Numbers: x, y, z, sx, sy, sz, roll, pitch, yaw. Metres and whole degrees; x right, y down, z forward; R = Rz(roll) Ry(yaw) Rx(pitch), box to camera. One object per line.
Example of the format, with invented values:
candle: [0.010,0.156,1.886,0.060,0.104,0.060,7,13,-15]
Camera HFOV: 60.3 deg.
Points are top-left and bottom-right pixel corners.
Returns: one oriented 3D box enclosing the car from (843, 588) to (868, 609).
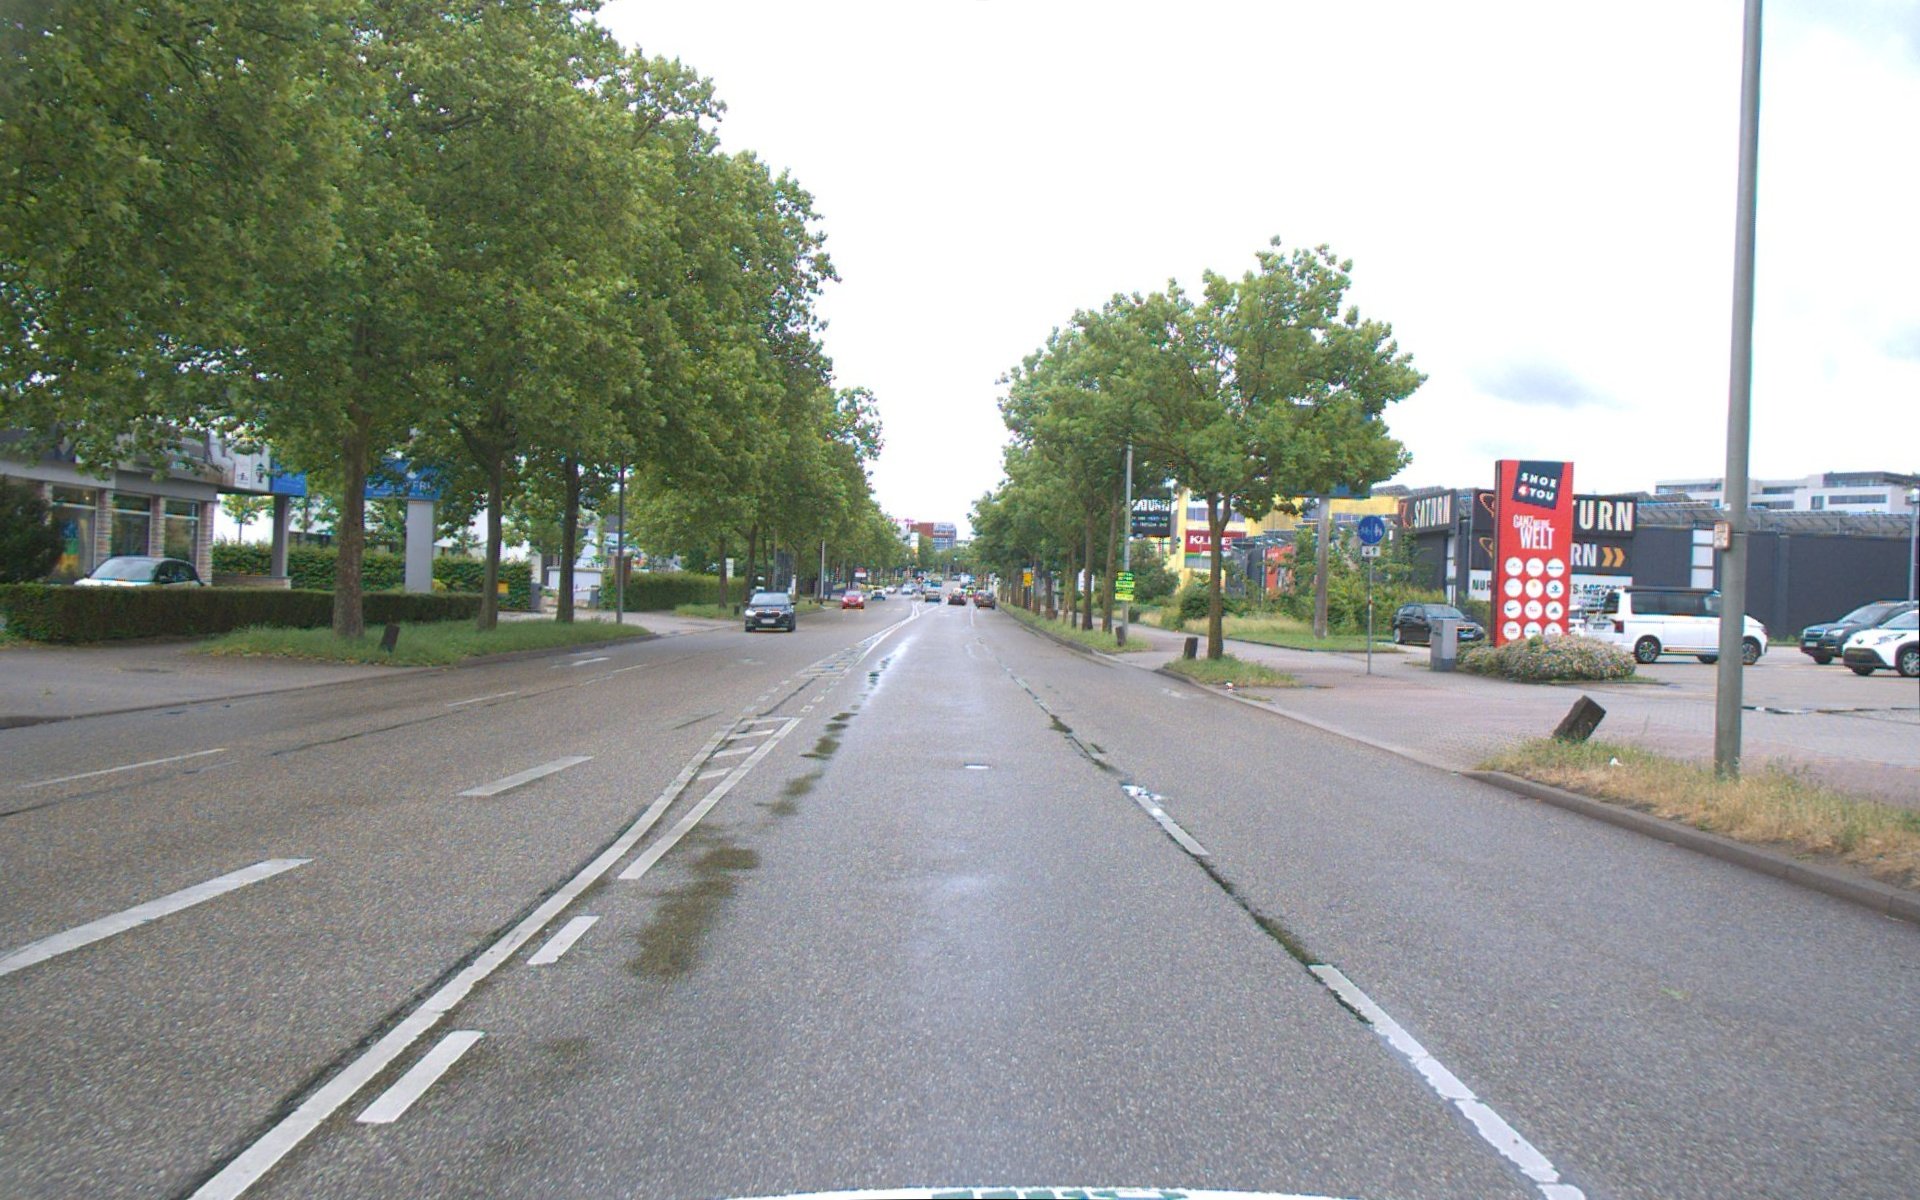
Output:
car: [-8.213,-0.127,130.066,1.690,1.544,3.821,1,0,0]

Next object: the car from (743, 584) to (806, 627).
car: [-6.651,0.182,59.577,1.767,1.488,3.846,0,0,1]

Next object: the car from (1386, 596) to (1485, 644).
car: [16.119,0.650,56.274,1.549,1.453,4.257,1,1,-9]

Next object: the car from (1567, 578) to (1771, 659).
car: [19.008,0.492,44.434,4.732,2.049,1.986,1,0,-10]

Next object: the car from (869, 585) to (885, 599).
car: [-10.758,-1.090,213.669,1.669,1.767,4.001,1,0,2]

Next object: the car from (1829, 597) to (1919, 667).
car: [22.063,0.736,37.831,3.571,1.541,1.673,1,0,-9]

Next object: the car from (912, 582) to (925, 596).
car: [-6.303,-1.637,251.414,1.790,2.049,3.998,1,0,-2]

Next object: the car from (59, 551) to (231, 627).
car: [-17.446,-0.232,35.616,1.786,1.512,3.939,1,0,-1]

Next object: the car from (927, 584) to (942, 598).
car: [-3.432,-1.193,224.219,1.852,1.909,4.123,1,0,0]

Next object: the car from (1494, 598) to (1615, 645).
car: [20.897,0.728,58.399,1.846,1.494,4.942,1,1,-9]

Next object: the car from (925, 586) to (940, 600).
car: [-3.519,-0.867,209.527,1.709,1.730,4.001,1,0,1]

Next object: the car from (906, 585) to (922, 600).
car: [-6.197,-1.026,222.632,1.953,2.049,3.999,1,0,-1]

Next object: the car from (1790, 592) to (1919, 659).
car: [25.242,0.698,45.380,4.165,1.760,1.739,1,0,-9]

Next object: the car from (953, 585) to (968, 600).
car: [0.074,-0.935,200.248,1.709,1.767,4.001,1,0,1]

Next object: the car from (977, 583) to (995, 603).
car: [2.631,-0.702,167.254,1.709,2.049,4.001,1,0,1]
